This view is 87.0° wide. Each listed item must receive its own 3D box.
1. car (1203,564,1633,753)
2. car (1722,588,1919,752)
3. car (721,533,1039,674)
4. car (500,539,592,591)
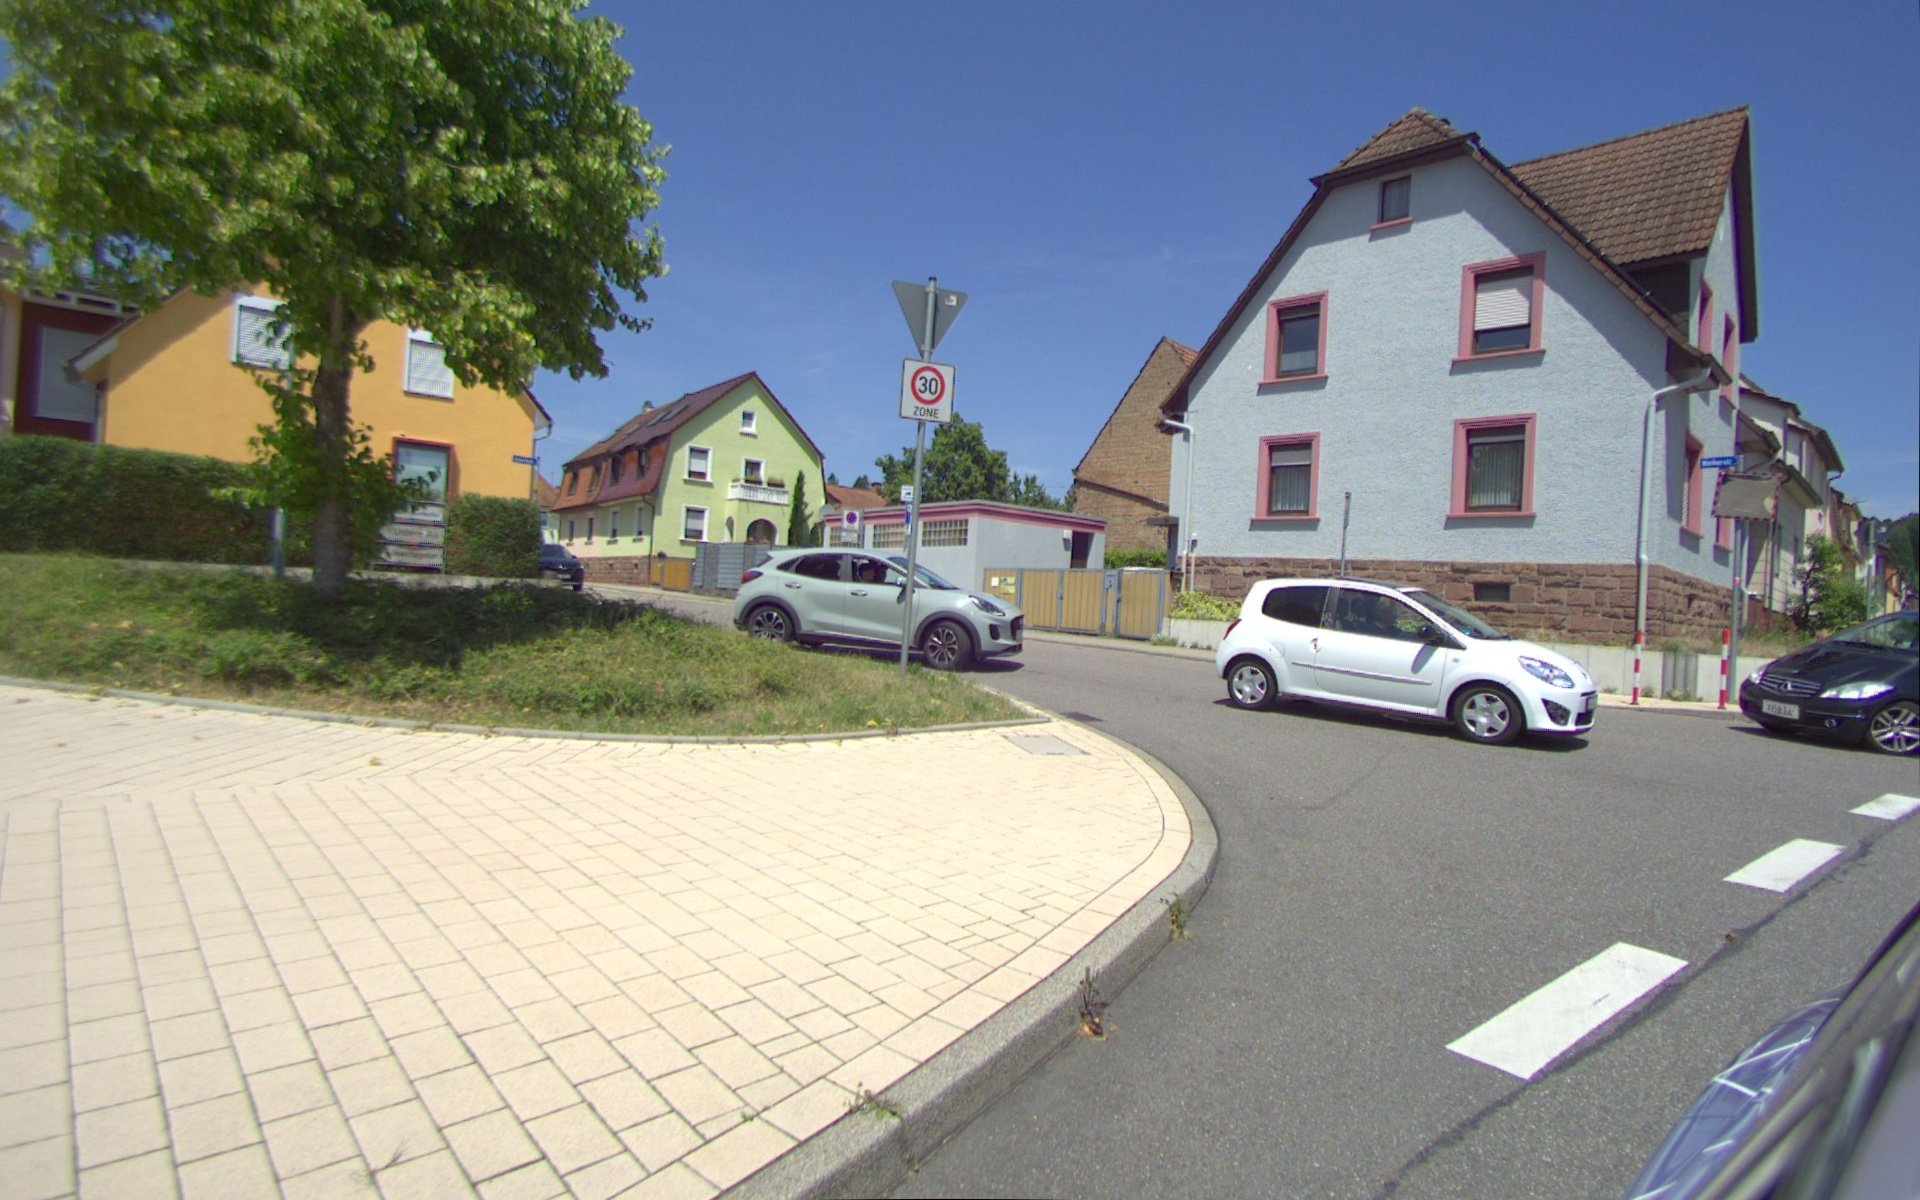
[{"bbox_3d":[4.634,0.461,10.529,3.670,1.497,1.748,4,2,43],"label":"car"},{"bbox_3d":[11.100,0.790,11.018,4.080,1.609,1.868,3,-1,2],"label":"car"},{"bbox_3d":[-1.076,-0.005,14.310,4.066,1.554,1.769,5,2,14],"label":"car"},{"bbox_3d":[-14.489,-1.237,35.309,1.963,1.616,3.999,2,1,-37],"label":"car"}]
